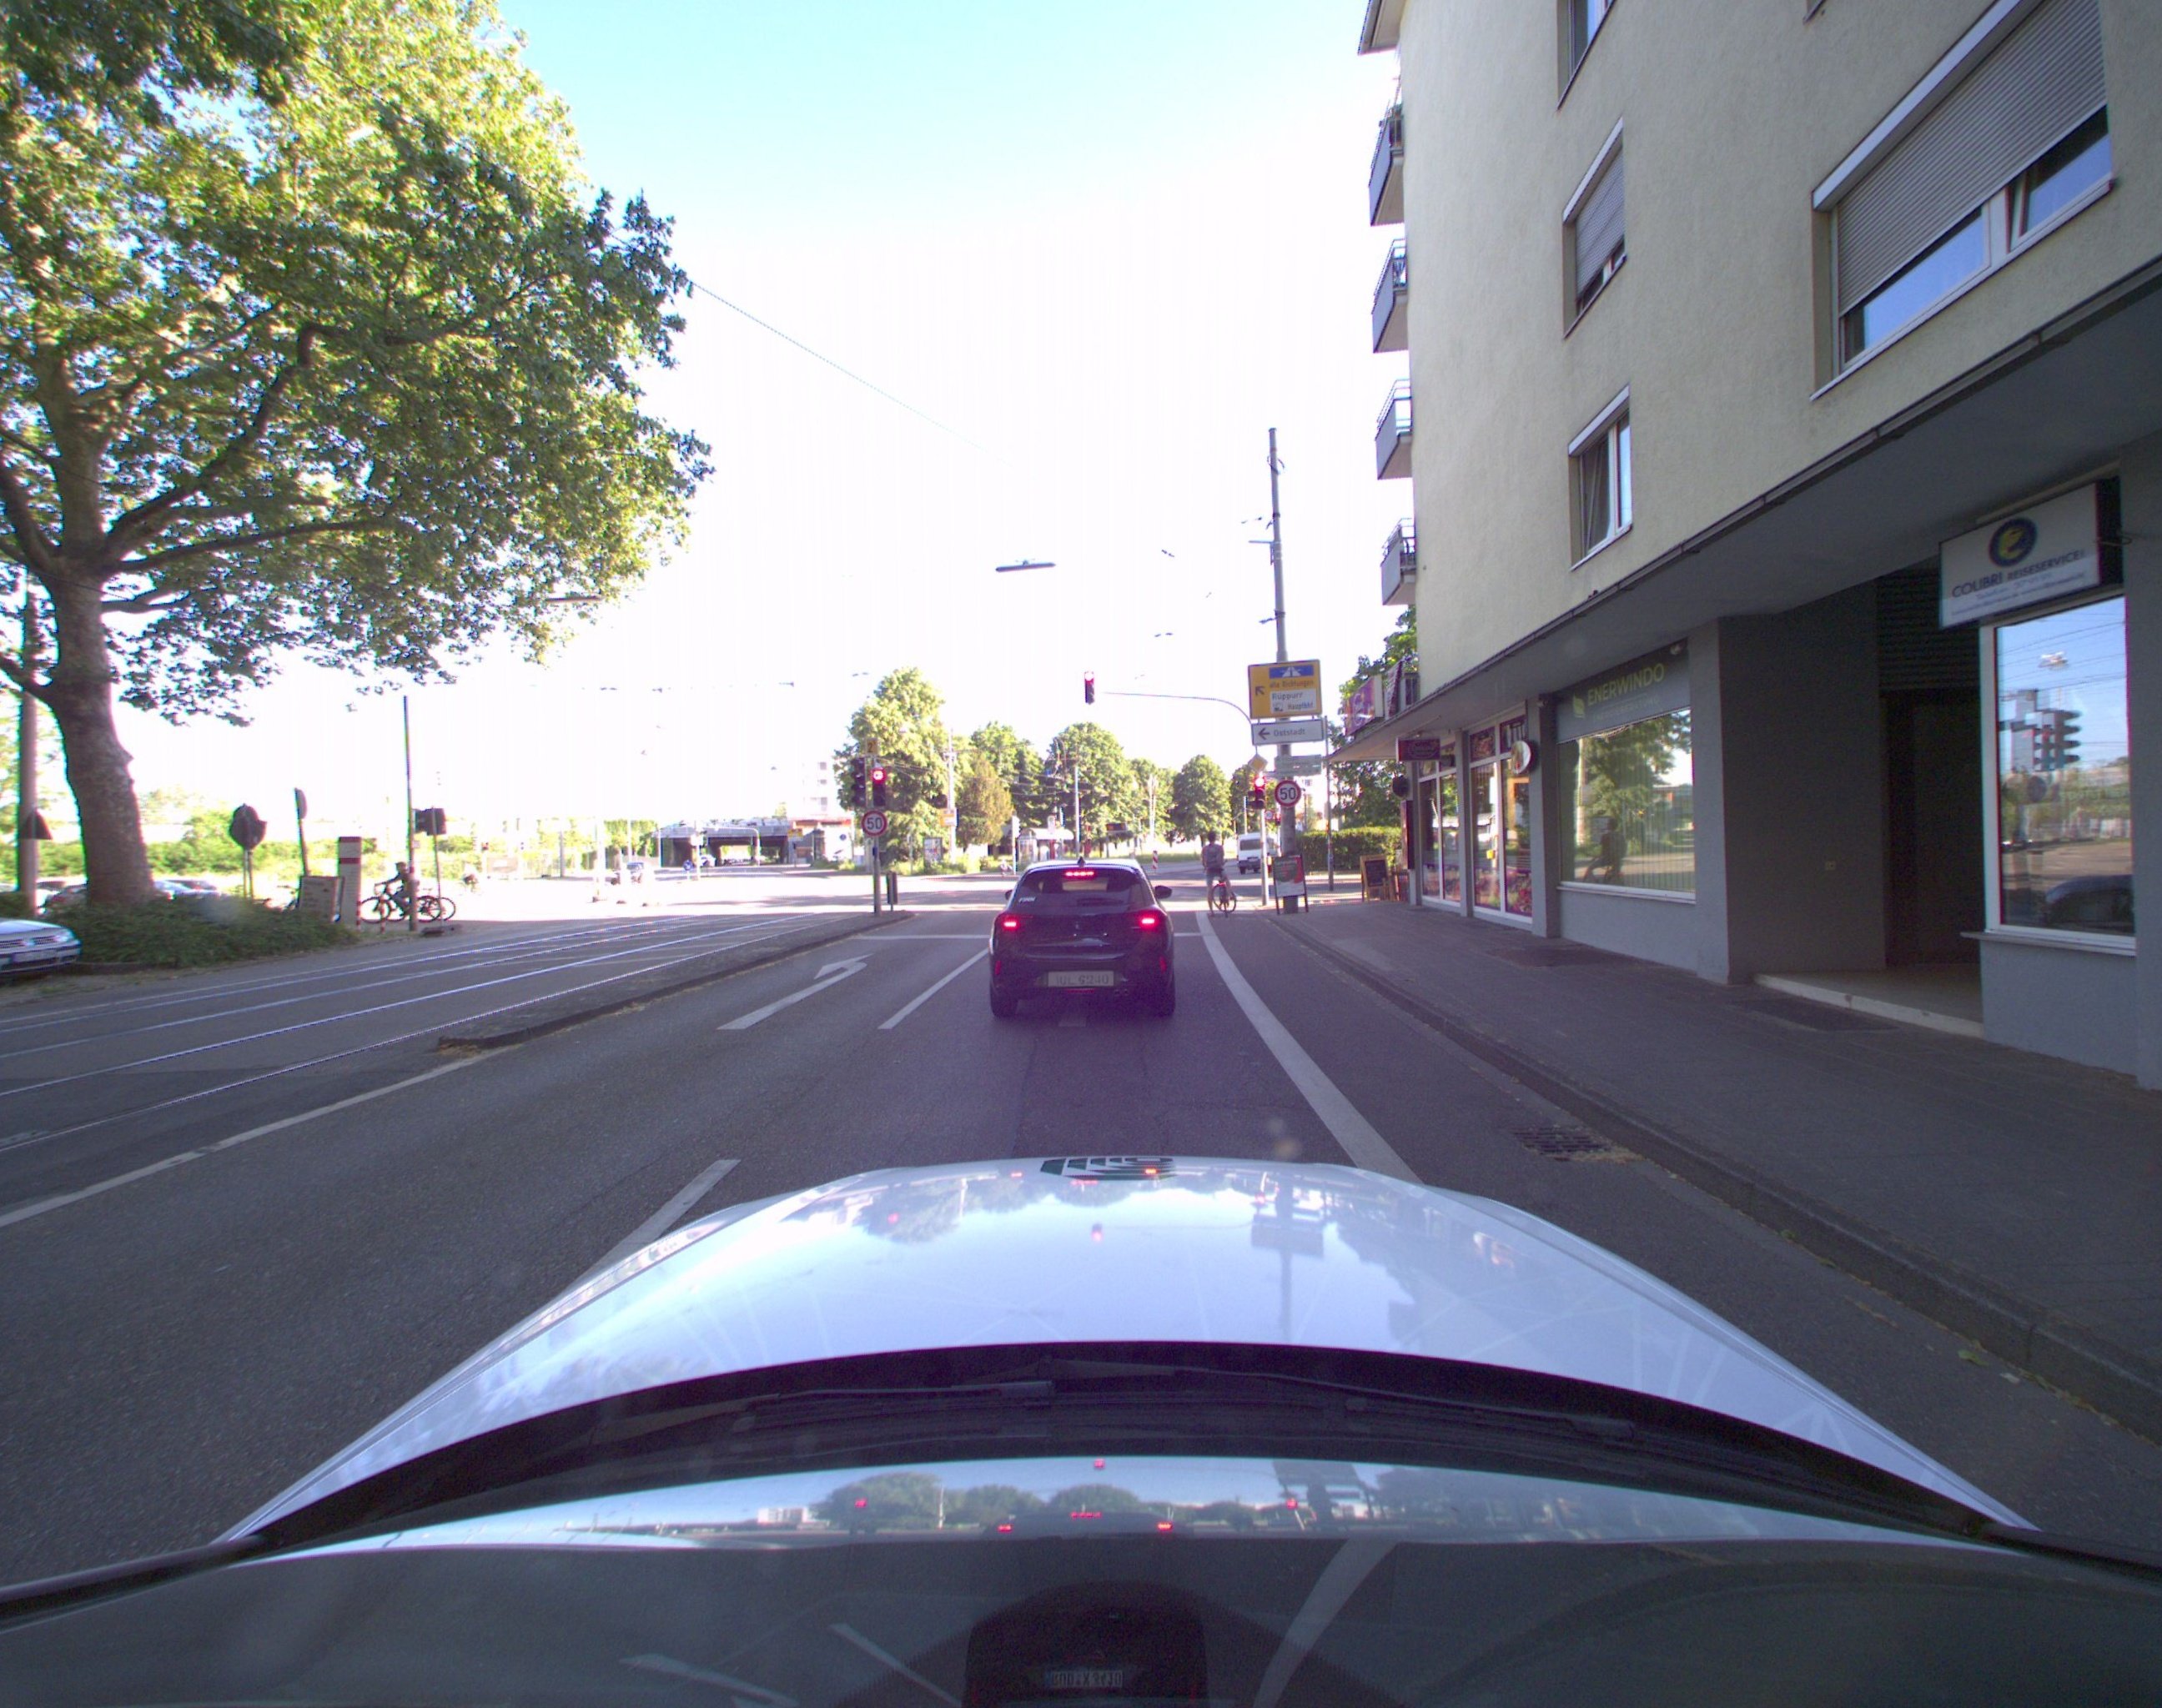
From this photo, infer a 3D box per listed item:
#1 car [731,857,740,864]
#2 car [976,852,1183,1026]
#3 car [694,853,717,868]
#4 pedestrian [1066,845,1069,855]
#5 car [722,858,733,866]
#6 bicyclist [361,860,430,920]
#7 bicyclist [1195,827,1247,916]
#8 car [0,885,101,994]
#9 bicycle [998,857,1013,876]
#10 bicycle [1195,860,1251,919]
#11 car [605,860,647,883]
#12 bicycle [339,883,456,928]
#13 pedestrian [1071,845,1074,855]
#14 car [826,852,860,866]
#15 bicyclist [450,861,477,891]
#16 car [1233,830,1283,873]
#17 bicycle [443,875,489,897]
[{"bbox_3d":[-94.956,1.808,223.738,2.004,1.947,4.461,-2,0,-26],"label":"car"},{"bbox_3d":[0.063,0.709,8.916,1.720,1.429,4.189,-1,0,2],"label":"car"},{"bbox_3d":[-48.650,0.834,105.420,2.227,1.823,4.106,-2,0,-31],"label":"car"},{"bbox_3d":[-1.823,-0.502,111.920,0.411,1.412,0.436,0,-1,-1],"label":"pedestrian"},{"bbox_3d":[-74.908,1.604,172.400,2.003,1.602,4.213,-2,0,-24],"label":"car"},{"bbox_3d":[-18.146,0.930,21.579,1.117,1.520,0.915,-2,0,-21],"label":"bicyclist"},{"bbox_3d":[3.048,0.371,17.825,0.938,1.851,0.864,-2,0,1],"label":"bicyclist"},{"bbox_3d":[-16.957,1.200,11.369,4.497,1.429,1.676,0,0,0],"label":"car"},{"bbox_3d":[-4.305,0.727,46.745,0.603,1.031,1.983,-2,0,2],"label":"bicycle"},{"bbox_3d":[3.070,0.733,17.838,0.857,1.153,2.172,-2,0,1],"label":"bicycle"},{"bbox_3d":[-31.287,1.159,56.108,1.830,1.519,3.870,0,0,-18],"label":"car"},{"bbox_3d":[-18.078,1.355,21.613,2.199,1.033,0.828,-2,0,-21],"label":"bicycle"},{"bbox_3d":[-1.135,-0.502,111.489,0.411,1.412,0.436,0,-1,1],"label":"pedestrian"},{"bbox_3d":[-32.363,0.678,110.865,4.193,1.805,1.723,-2,0,-23],"label":"car"},{"bbox_3d":[-33.045,1.174,43.589,0.856,1.595,0.650,-2,0,6],"label":"bicyclist"},{"bbox_3d":[10.146,-0.152,46.391,2.046,2.248,4.912,-2,0,20],"label":"car"},{"bbox_3d":[-32.905,1.728,43.579,2.044,1.094,0.593,-2,0,6],"label":"bicycle"}]
